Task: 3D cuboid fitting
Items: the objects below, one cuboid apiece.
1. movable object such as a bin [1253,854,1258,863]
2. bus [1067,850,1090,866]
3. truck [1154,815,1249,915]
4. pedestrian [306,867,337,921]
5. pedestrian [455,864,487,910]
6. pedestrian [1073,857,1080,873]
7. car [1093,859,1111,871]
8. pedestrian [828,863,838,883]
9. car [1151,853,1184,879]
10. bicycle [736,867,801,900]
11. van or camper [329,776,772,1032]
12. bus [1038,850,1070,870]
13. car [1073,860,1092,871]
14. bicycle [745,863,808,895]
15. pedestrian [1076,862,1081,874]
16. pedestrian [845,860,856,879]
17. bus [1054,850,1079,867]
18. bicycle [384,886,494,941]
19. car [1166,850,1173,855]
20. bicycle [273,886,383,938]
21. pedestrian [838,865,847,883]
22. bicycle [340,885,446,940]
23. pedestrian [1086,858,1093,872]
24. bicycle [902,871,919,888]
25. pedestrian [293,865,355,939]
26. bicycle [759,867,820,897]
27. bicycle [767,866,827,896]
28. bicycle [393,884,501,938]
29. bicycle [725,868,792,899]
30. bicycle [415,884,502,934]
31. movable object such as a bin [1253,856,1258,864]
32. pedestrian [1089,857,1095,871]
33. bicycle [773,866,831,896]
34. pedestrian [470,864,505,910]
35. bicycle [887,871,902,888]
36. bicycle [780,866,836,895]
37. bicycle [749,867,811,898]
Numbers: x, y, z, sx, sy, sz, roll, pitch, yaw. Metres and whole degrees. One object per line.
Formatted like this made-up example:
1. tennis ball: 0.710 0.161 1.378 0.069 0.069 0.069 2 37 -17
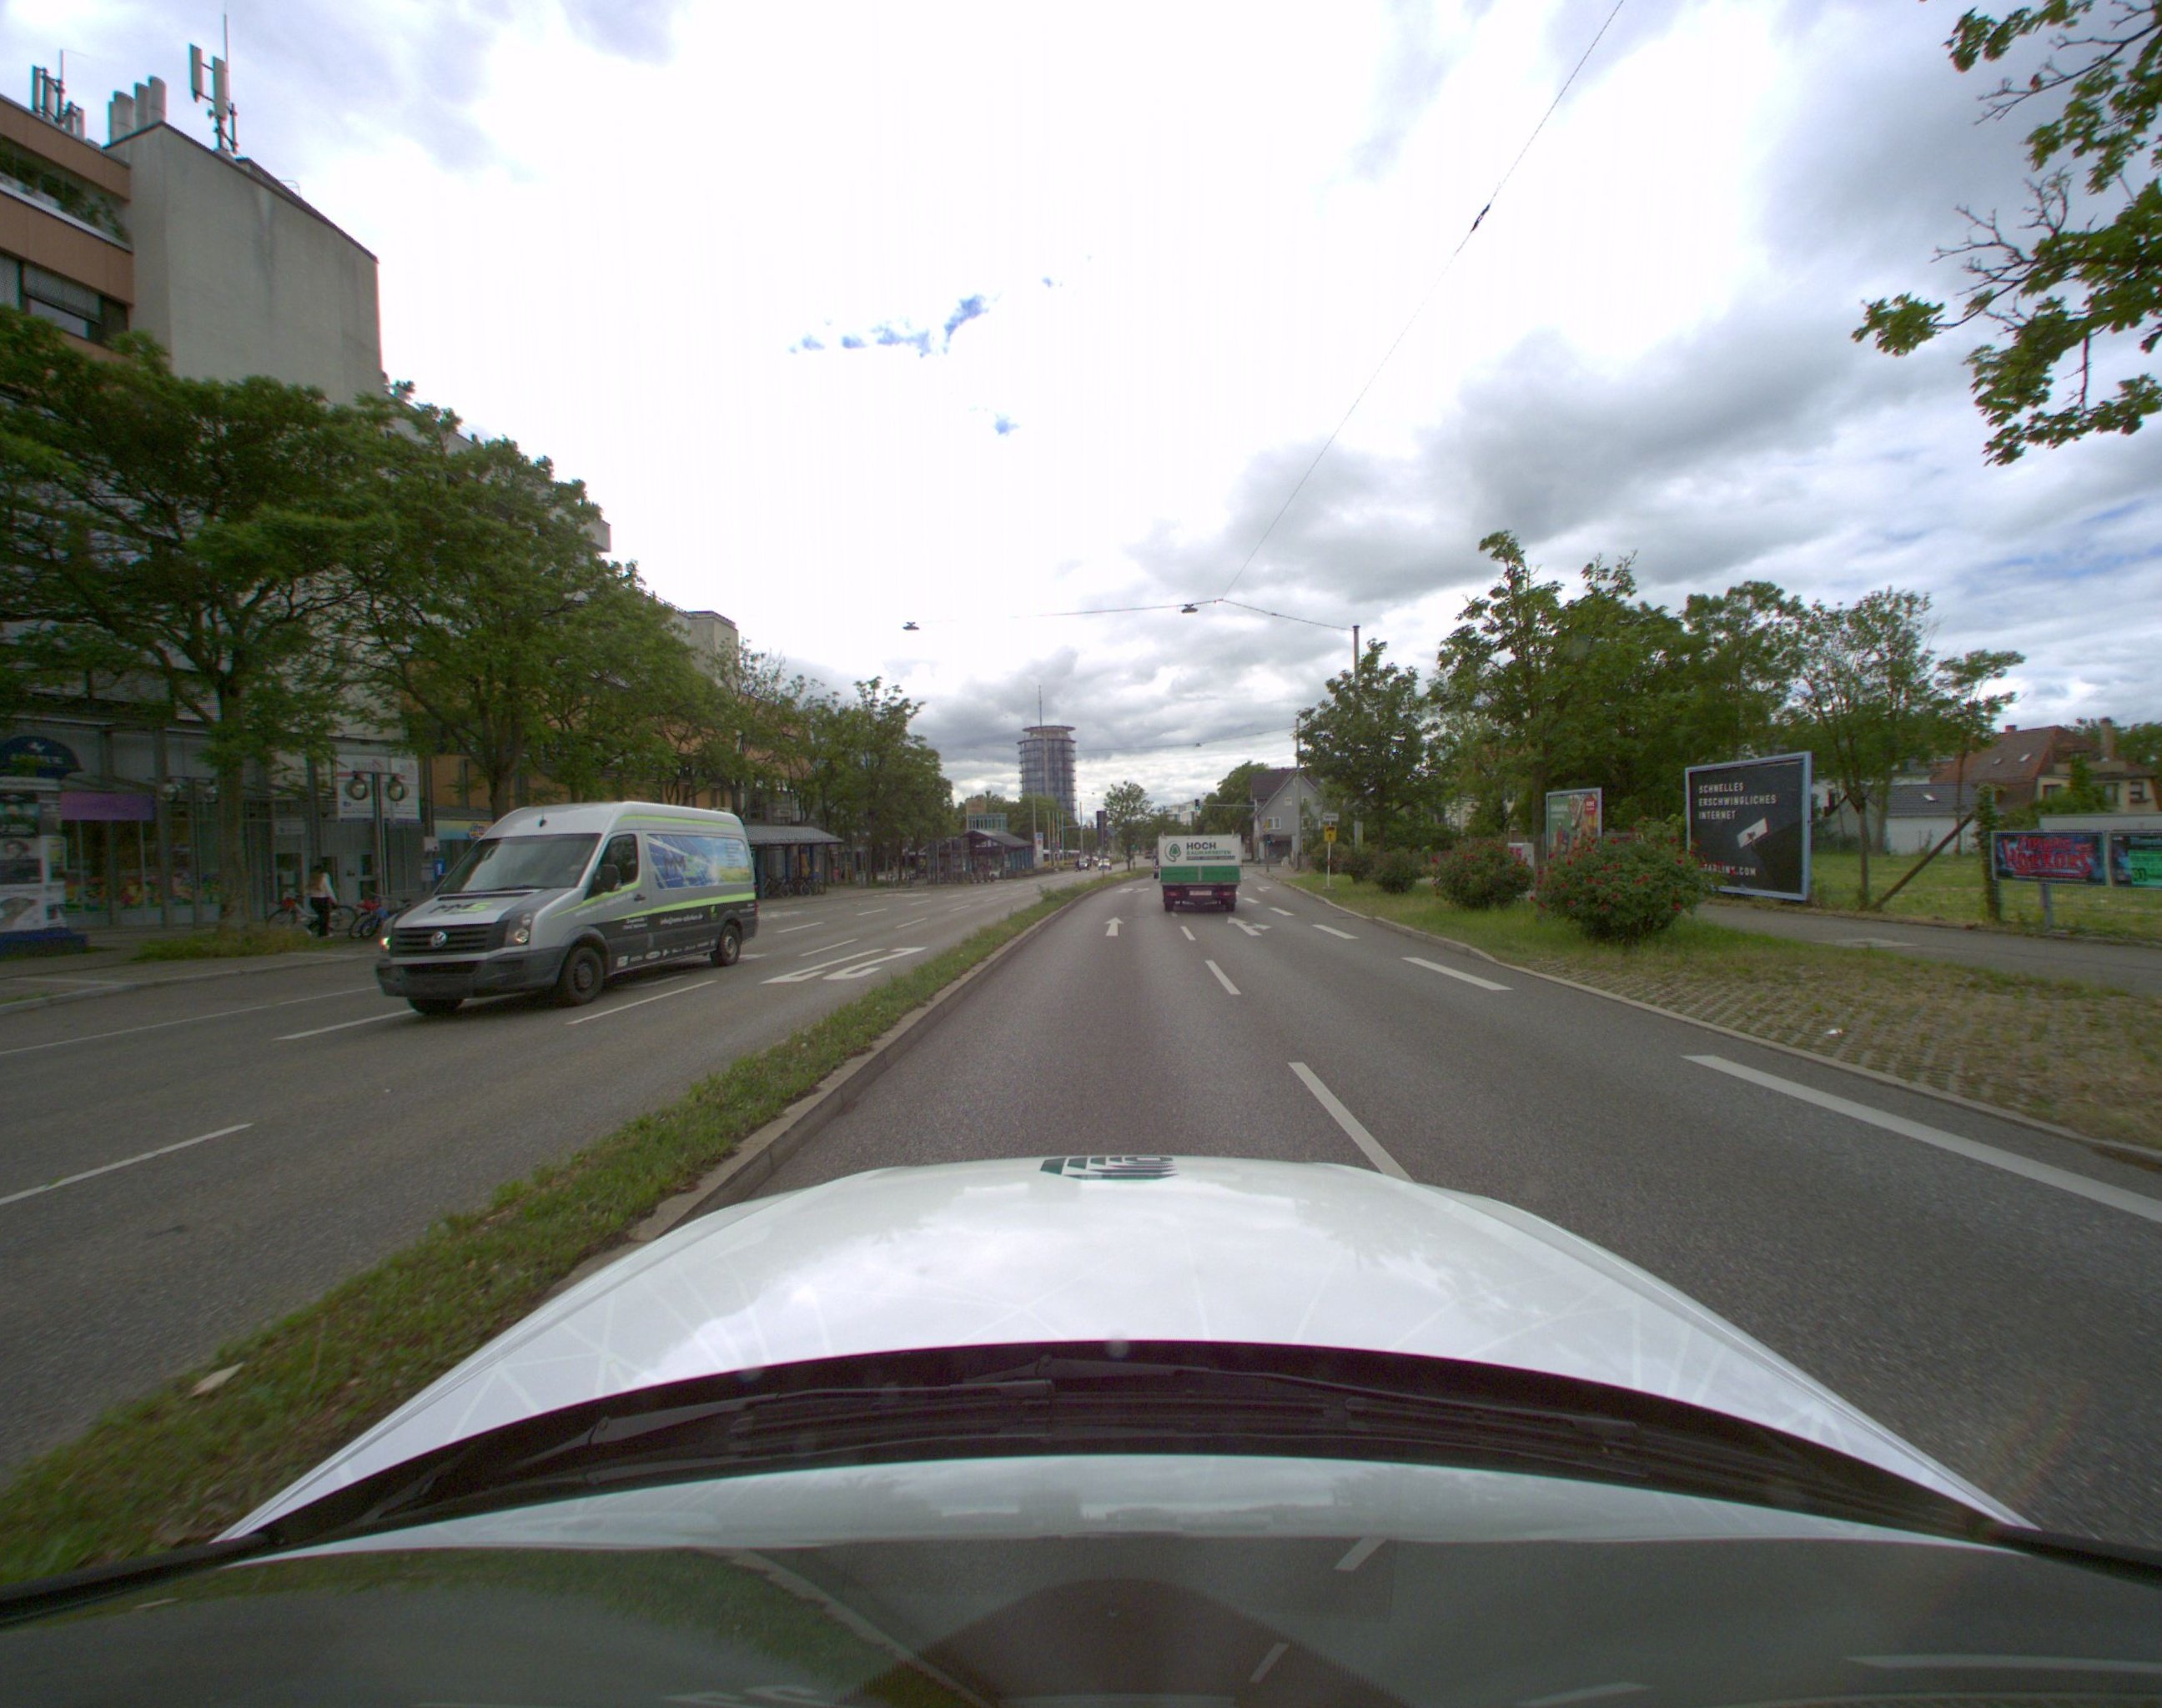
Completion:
1. movable object such as a bin: 22.260 0.583 103.722 0.600 1.059 0.591 0 -1 11
2. bus: -0.562 0.892 190.046 2.812 3.431 10.773 -2 -1 14
3. truck: 3.616 0.254 24.843 2.457 2.611 6.561 -1 1 7
4. pedestrian: -23.402 1.222 25.088 0.626 1.600 0.626 0 0 40
5. pedestrian: -21.488 1.162 28.674 0.629 1.600 0.624 0 0 6
6. pedestrian: -0.556 1.411 104.046 0.826 2.014 0.546 -2 -1 2
7. car: 2.992 1.509 114.103 1.982 1.486 4.009 -2 -1 8
8. pedestrian: -21.759 1.636 71.436 0.562 1.727 0.680 -2 0 1
9. car: 6.273 0.850 58.932 1.980 1.830 4.013 -1 0 11
10. bicycle: -15.657 1.477 40.872 2.889 1.506 0.891 -2 0 0
11. van or camper: -6.801 0.528 11.705 2.024 2.598 6.119 -4 0 2
12. bus: -4.782 1.099 147.604 2.812 3.431 10.773 -2 -1 14
13. car: 0.233 1.642 114.762 1.982 1.486 4.009 -2 -1 8
14. bicycle: -15.630 1.289 41.887 2.887 1.506 0.812 -2 0 2
15. pedestrian: -0.376 1.765 105.069 0.540 1.496 0.487 -2 -1 7
16. pedestrian: -19.681 1.281 69.496 0.632 1.586 0.825 -2 -1 -1
17. bus: -3.106 0.957 179.550 2.812 3.431 10.773 -2 -1 14
18. bicycle: -15.169 1.381 19.299 0.597 1.161 1.977 1 1 41
19. car: 25.981 -0.419 238.212 1.983 1.519 4.007 -2 0 6
20. bicycle: -19.304 1.453 20.933 2.030 1.161 0.666 -2 0 -42
21. pedestrian: -20.900 1.768 71.370 0.515 1.589 0.680 -2 0 1
22. bicycle: -16.732 1.397 19.881 0.599 1.161 1.972 -2 0 13
23. pedestrian: 1.098 1.368 104.217 0.742 1.716 0.583 -2 -1 2
24. bicycle: -11.740 1.755 56.120 0.828 1.083 1.933 -2 0 -4
25. pedestrian: -17.935 1.126 19.307 0.772 1.713 0.707 0 0 3
26. bicycle: -15.496 1.490 43.349 2.889 1.506 0.806 -2 0 0
27. bicycle: -15.439 1.480 44.317 2.889 1.506 0.778 -2 0 0
28. bicycle: -15.588 1.383 20.067 0.597 1.161 1.977 -2 0 41
29. bicycle: -15.741 1.432 39.826 2.889 1.506 0.972 0 0 0
30. bicycle: -16.229 1.409 21.266 0.597 1.161 1.700 -2 0 40
31. movable object such as a bin: 22.348 0.785 104.426 0.612 1.043 0.591 -1 -1 11
32. pedestrian: 1.431 1.294 103.544 0.650 1.716 0.452 -2 -1 2
33. bicycle: -15.449 1.486 45.129 2.889 1.506 0.700 -2 0 0
34. pedestrian: -20.789 1.145 28.543 0.663 1.583 0.707 0 0 3
35. bicycle: -12.848 1.737 56.133 0.712 1.136 1.953 -2 0 -5
36. bicycle: -15.374 1.482 45.815 2.889 1.506 0.599 -2 0 0
37. bicycle: -15.835 1.493 42.846 2.889 1.506 0.806 -2 0 0
